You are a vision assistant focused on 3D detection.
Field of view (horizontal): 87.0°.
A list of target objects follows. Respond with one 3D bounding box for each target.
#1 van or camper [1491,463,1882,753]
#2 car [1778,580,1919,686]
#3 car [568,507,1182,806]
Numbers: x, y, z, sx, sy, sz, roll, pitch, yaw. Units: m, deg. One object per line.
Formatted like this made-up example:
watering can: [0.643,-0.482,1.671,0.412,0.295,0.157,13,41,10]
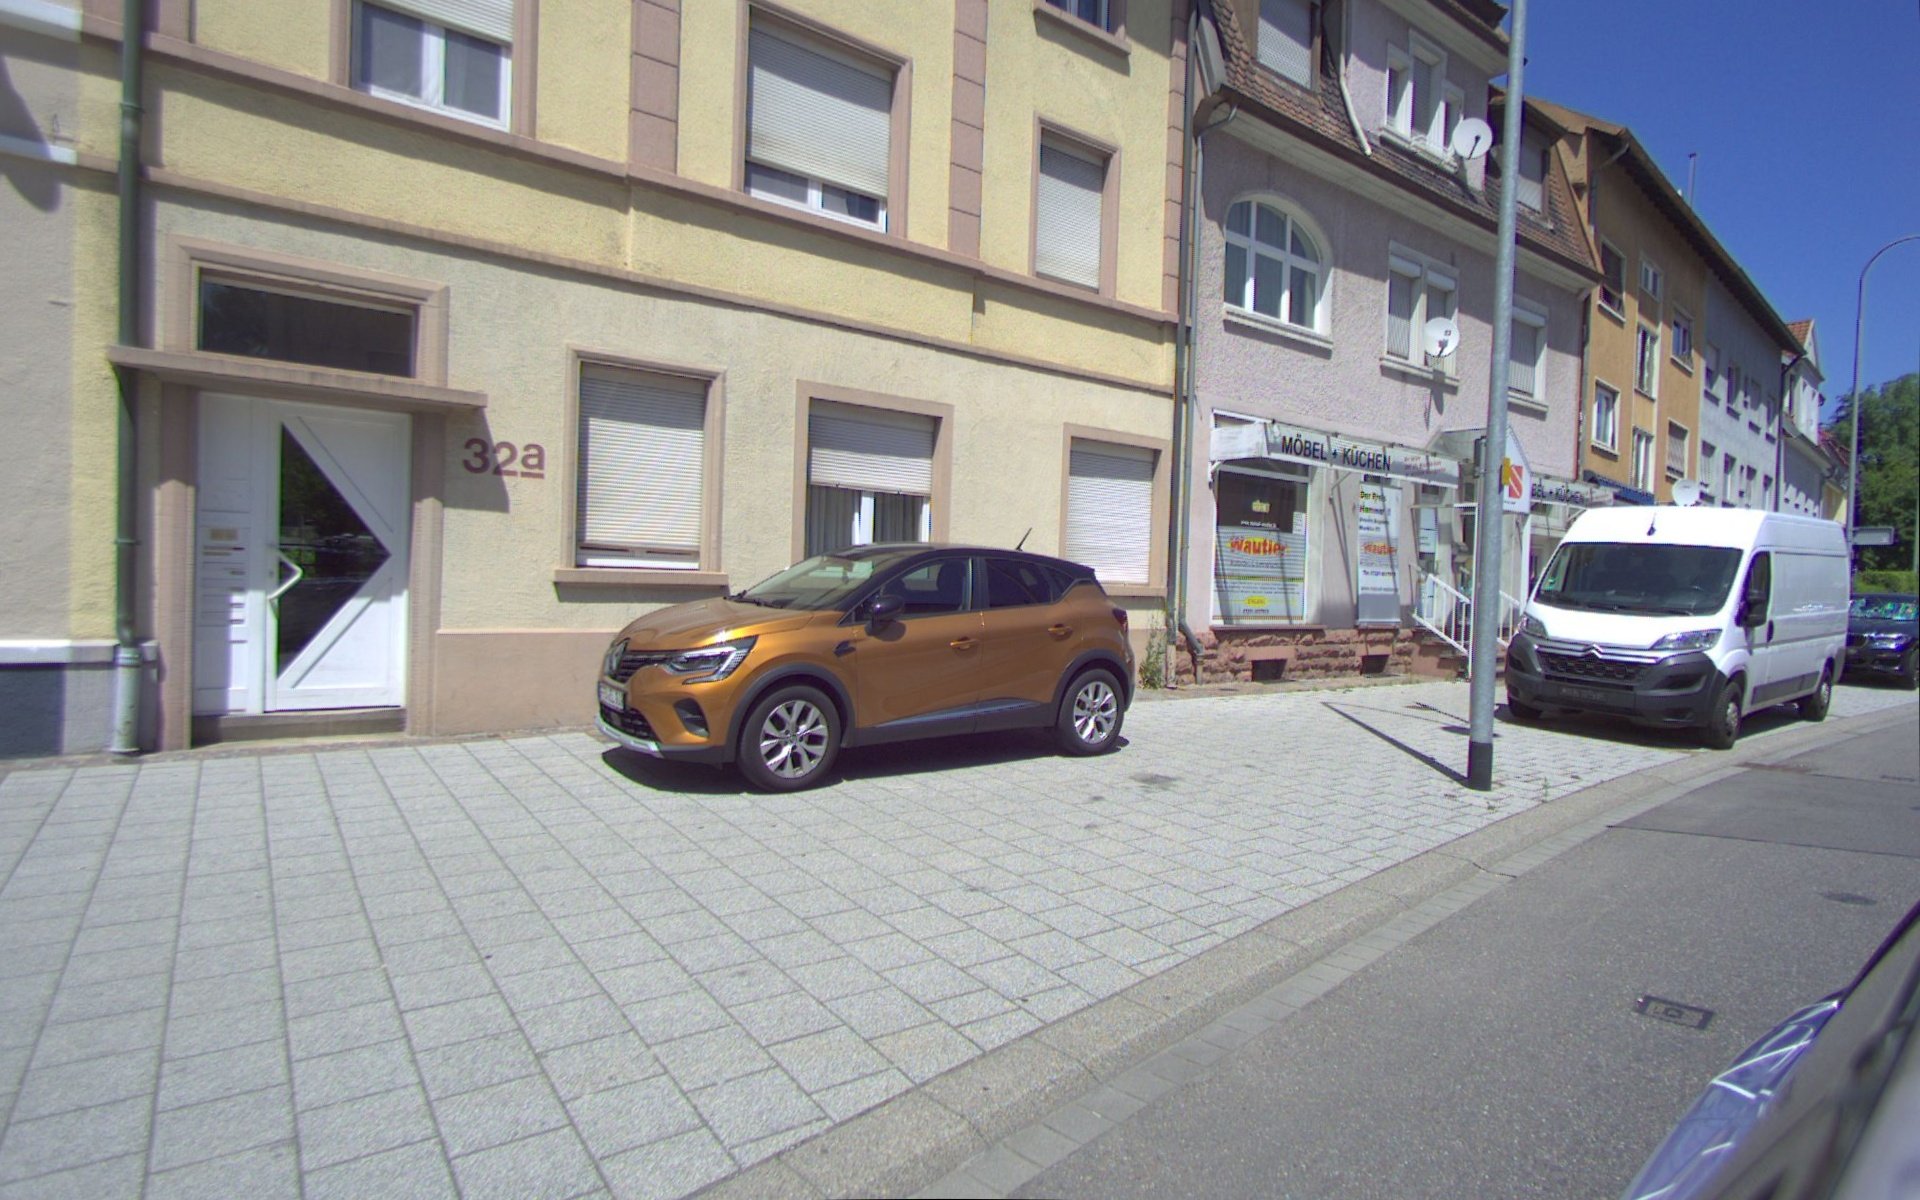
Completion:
van or camper: [8.604,0.017,11.744,5.662,2.620,2.171,0,3,-39]
car: [16.978,0.523,18.388,4.278,1.627,1.904,0,4,-32]
car: [-0.446,0.259,7.529,4.283,1.639,1.678,0,4,-38]
